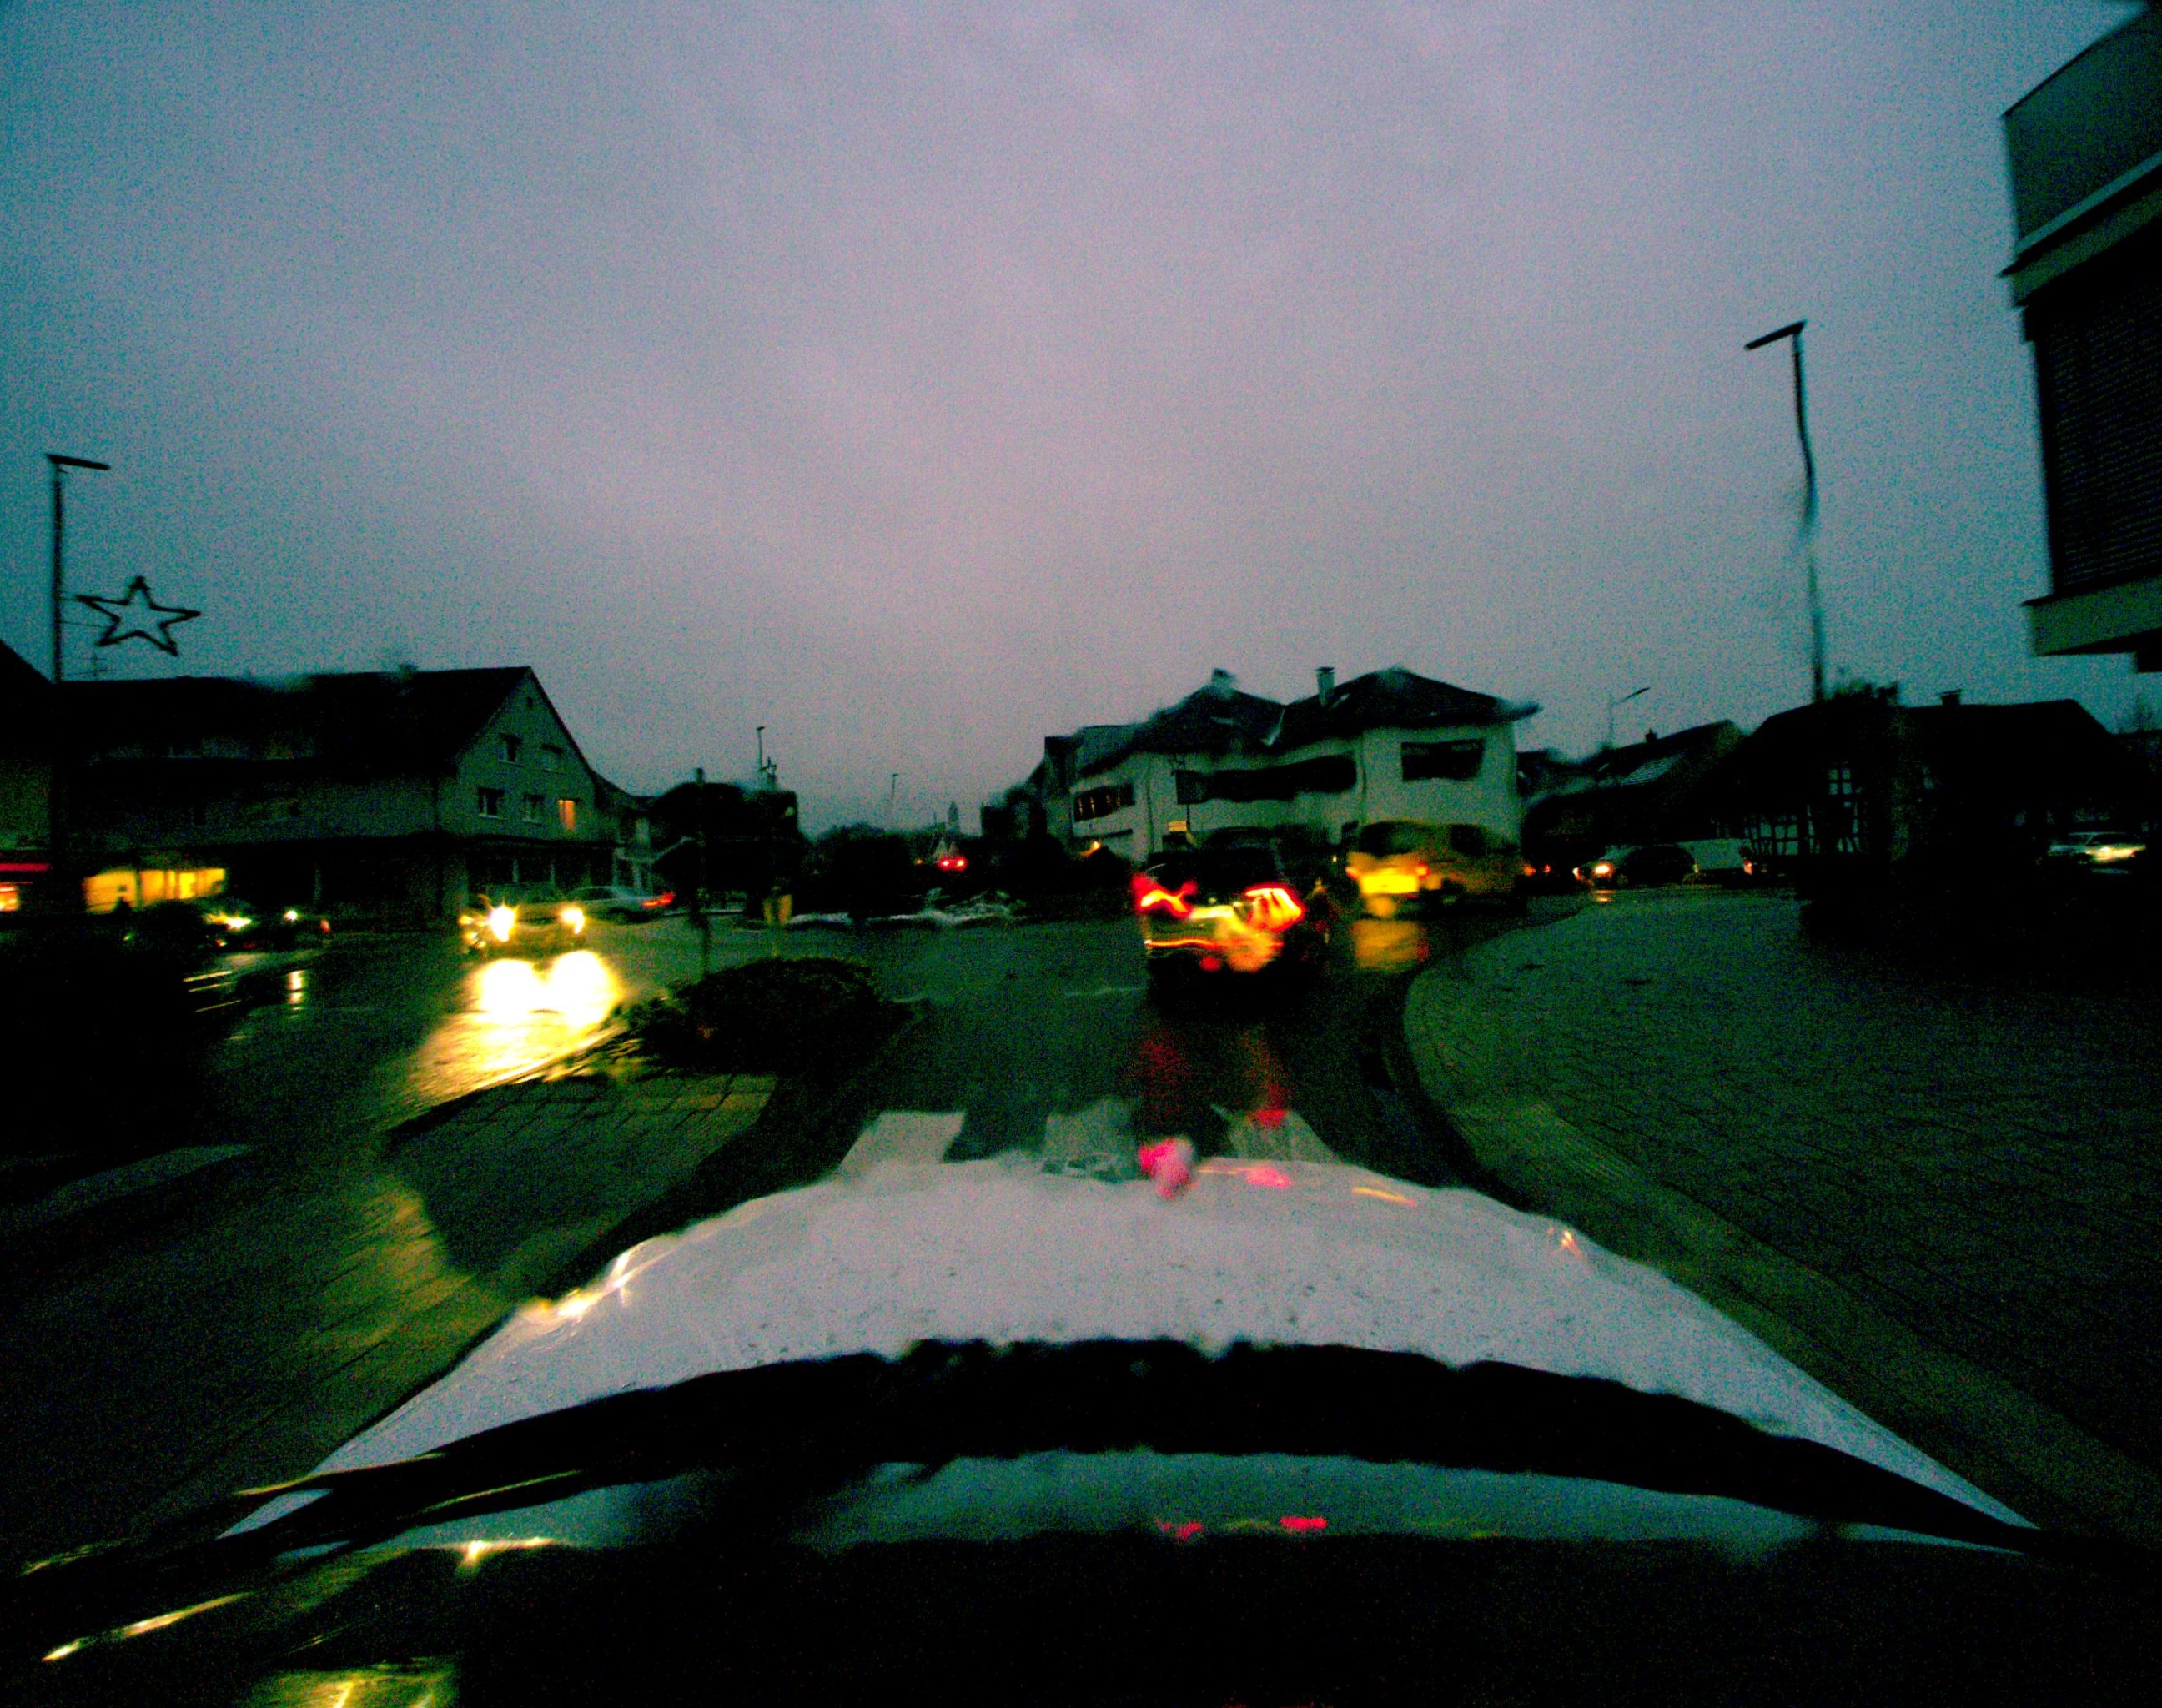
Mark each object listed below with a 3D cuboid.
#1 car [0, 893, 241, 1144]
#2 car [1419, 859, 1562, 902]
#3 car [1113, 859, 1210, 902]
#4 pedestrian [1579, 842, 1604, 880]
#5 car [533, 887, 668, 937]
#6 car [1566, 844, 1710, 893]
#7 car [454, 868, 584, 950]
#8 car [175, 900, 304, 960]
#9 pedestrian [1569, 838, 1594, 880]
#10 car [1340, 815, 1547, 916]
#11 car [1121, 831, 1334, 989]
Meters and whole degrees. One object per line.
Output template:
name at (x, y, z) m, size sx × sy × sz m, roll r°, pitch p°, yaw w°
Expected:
car at (-7.119, 1.017, 4.816) m, size 1.507 × 1.411 × 3.347 m, roll -2°, pitch -1°, yaw -17°
car at (14.695, 0.975, 29.400) m, size 4.211 × 1.384 × 1.848 m, roll -2°, pitch -3°, yaw -3°
car at (3.215, 1.062, 33.016) m, size 1.791 × 1.539 × 3.890 m, roll -2°, pitch 0°, yaw -34°
pedestrian at (22.157, 0.310, 35.375) m, size 0.711 × 1.621 × 0.584 m, roll -2°, pitch 0°, yaw 9°
car at (-18.323, 2.188, 31.240) m, size 4.055 × 1.662 × 1.698 m, roll -2°, pitch -1°, yaw -10°
car at (19.981, 0.548, 29.324) m, size 3.973 × 1.552 × 1.697 m, roll -2°, pitch -2°, yaw 0°
car at (-12.037, 1.171, 17.338) m, size 1.725 × 1.422 × 3.964 m, roll -4°, pitch -1°, yaw -42°
car at (-27.068, 2.362, 26.161) m, size 4.572 × 1.593 × 1.966 m, roll -1°, pitch 0°, yaw 32°
pedestrian at (22.163, 0.227, 36.070) m, size 0.711 × 1.832 × 0.639 m, roll -2°, pitch 1°, yaw 9°
car at (8.312, 0.202, 18.525) m, size 4.920 × 2.014 × 1.978 m, roll -2°, pitch -1°, yaw -35°
car at (2.089, 0.599, 10.534) m, size 1.899 × 1.615 × 3.971 m, roll -2°, pitch -1°, yaw 22°
